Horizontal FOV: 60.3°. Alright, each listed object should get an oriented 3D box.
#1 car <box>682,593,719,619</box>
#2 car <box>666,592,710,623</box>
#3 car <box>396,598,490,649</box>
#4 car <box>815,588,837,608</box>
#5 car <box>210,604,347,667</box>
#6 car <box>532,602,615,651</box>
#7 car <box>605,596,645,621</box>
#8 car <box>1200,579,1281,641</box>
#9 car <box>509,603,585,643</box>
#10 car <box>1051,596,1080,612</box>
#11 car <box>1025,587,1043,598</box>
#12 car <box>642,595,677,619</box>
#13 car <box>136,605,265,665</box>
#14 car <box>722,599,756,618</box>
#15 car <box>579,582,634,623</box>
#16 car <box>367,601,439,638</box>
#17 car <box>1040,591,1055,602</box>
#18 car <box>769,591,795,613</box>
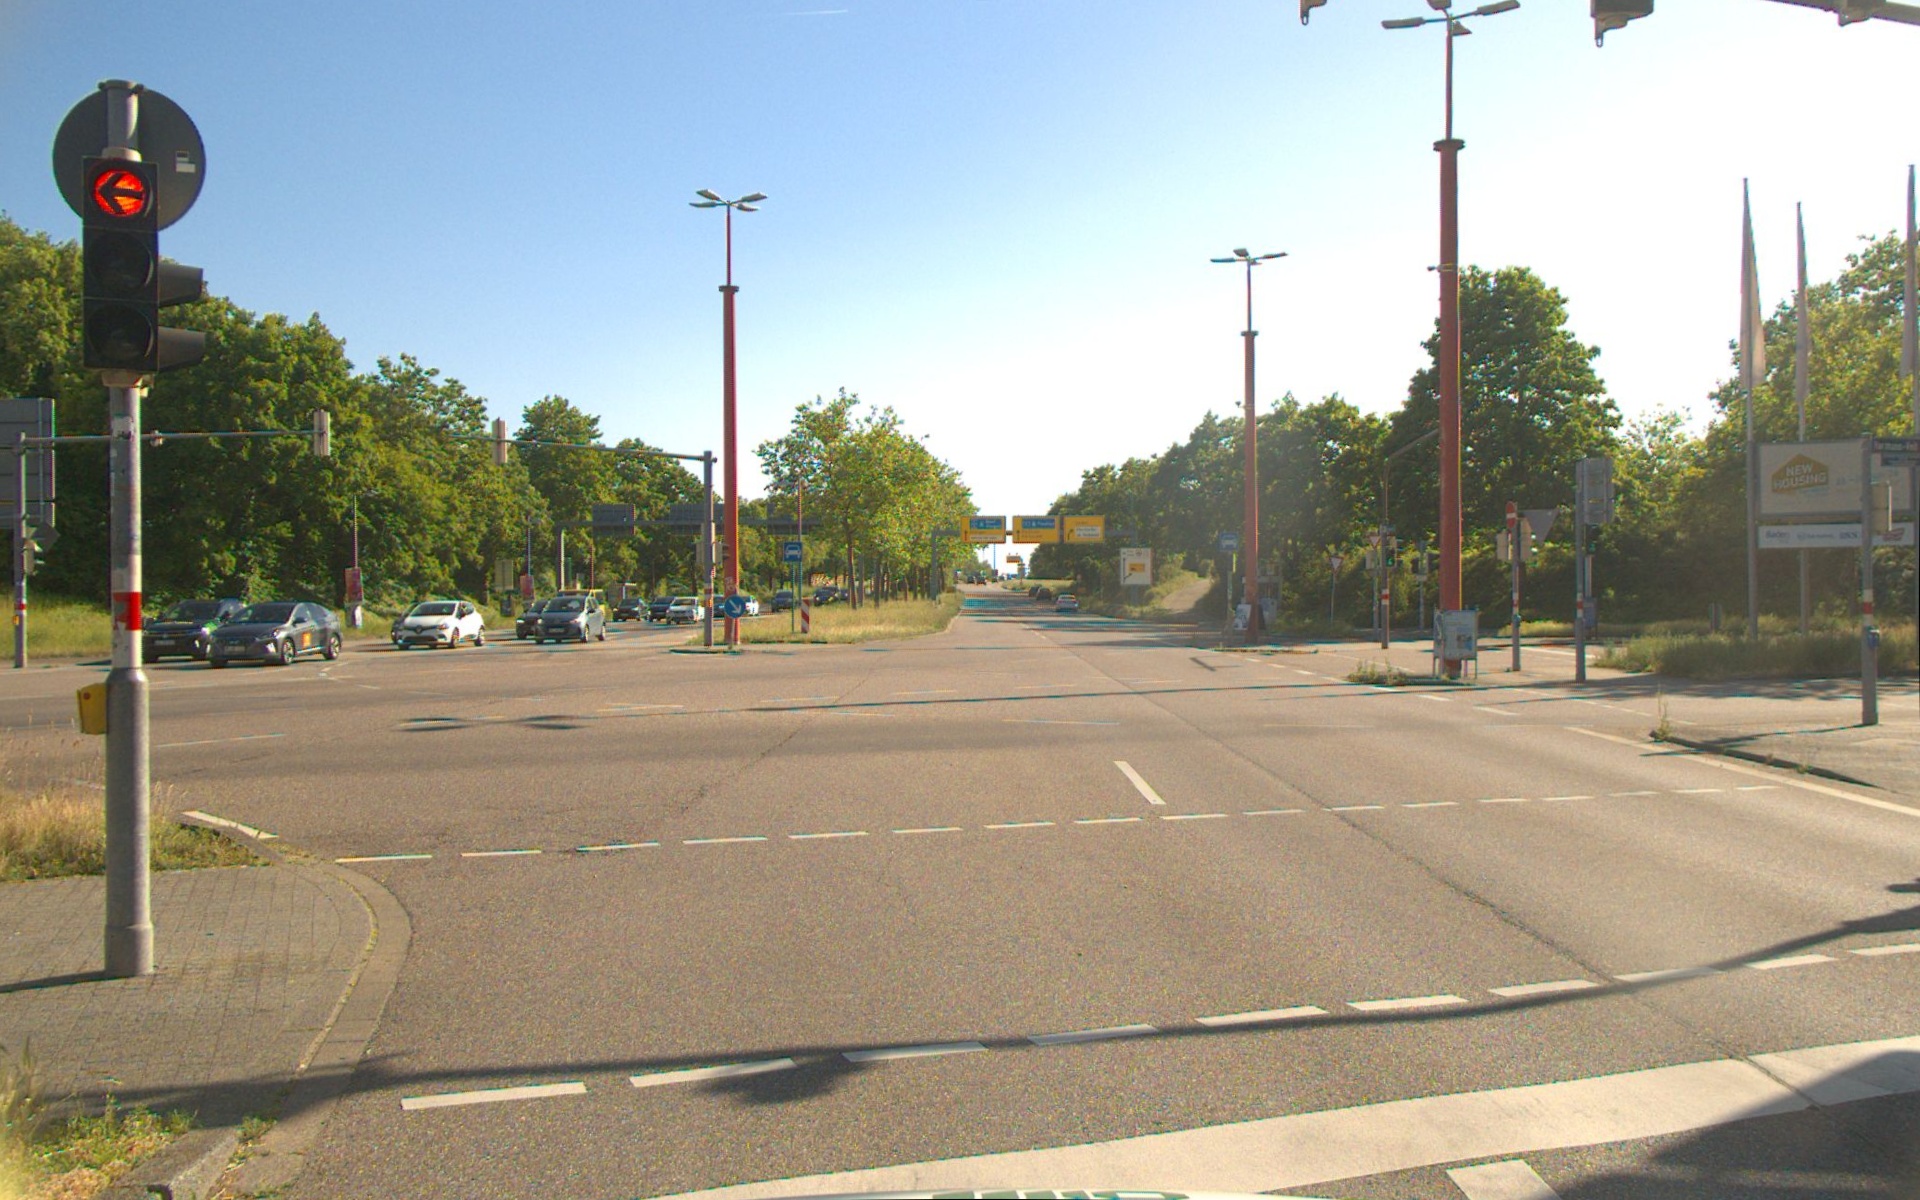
[{"bbox_3d":[-16.384,0.407,104.482,1.668,1.586,3.804,1,0,1],"label":"car"},{"bbox_3d":[-15.087,0.417,91.935,1.668,1.624,4.001,1,0,2],"label":"car"},{"bbox_3d":[-15.890,0.700,51.017,1.572,1.485,3.951,0,0,1],"label":"car"},{"bbox_3d":[-12.436,-0.196,153.958,1.622,1.778,4.001,1,0,2],"label":"car"},{"bbox_3d":[-16.159,0.803,39.434,1.516,1.401,4.262,0,0,0],"label":"car"},{"bbox_3d":[-12.593,0.842,54.087,1.666,1.446,4.000,3,0,1],"label":"car"},{"bbox_3d":[-22.576,0.565,111.629,1.953,1.667,3.998,1,0,-2],"label":"car"},{"bbox_3d":[9.202,0.306,54.018,1.952,1.920,4.001,0,0,20],"label":"car"},{"bbox_3d":[-15.514,0.838,62.372,1.595,1.392,4.797,0,0,1],"label":"car"},{"bbox_3d":[9.009,0.328,141.628,2.013,1.395,4.390,0,0,-2],"label":"car"},{"bbox_3d":[10.074,-0.997,225.190,1.955,1.523,3.994,0,0,-7],"label":"car"},{"bbox_3d":[-19.275,0.431,106.327,1.595,1.476,3.434,1,0,0],"label":"car"},{"bbox_3d":[-19.910,0.887,43.525,1.512,1.458,3.886,-1,0,1],"label":"car"},{"bbox_3d":[-15.574,0.585,116.672,1.963,1.330,3.998,0,0,-2],"label":"car"},{"bbox_3d":[-18.031,0.143,84.536,1.721,2.022,4.789,1,0,1],"label":"car"},{"bbox_3d":[-20.110,0.688,59.815,1.424,1.296,3.612,1,0,-1],"label":"car"},{"bbox_3d":[10.547,-0.437,200.511,1.702,1.365,3.082,0,0,1],"label":"car"},{"bbox_3d":[-14.770,0.172,137.302,1.592,1.769,4.001,0,0,1],"label":"car"}]
